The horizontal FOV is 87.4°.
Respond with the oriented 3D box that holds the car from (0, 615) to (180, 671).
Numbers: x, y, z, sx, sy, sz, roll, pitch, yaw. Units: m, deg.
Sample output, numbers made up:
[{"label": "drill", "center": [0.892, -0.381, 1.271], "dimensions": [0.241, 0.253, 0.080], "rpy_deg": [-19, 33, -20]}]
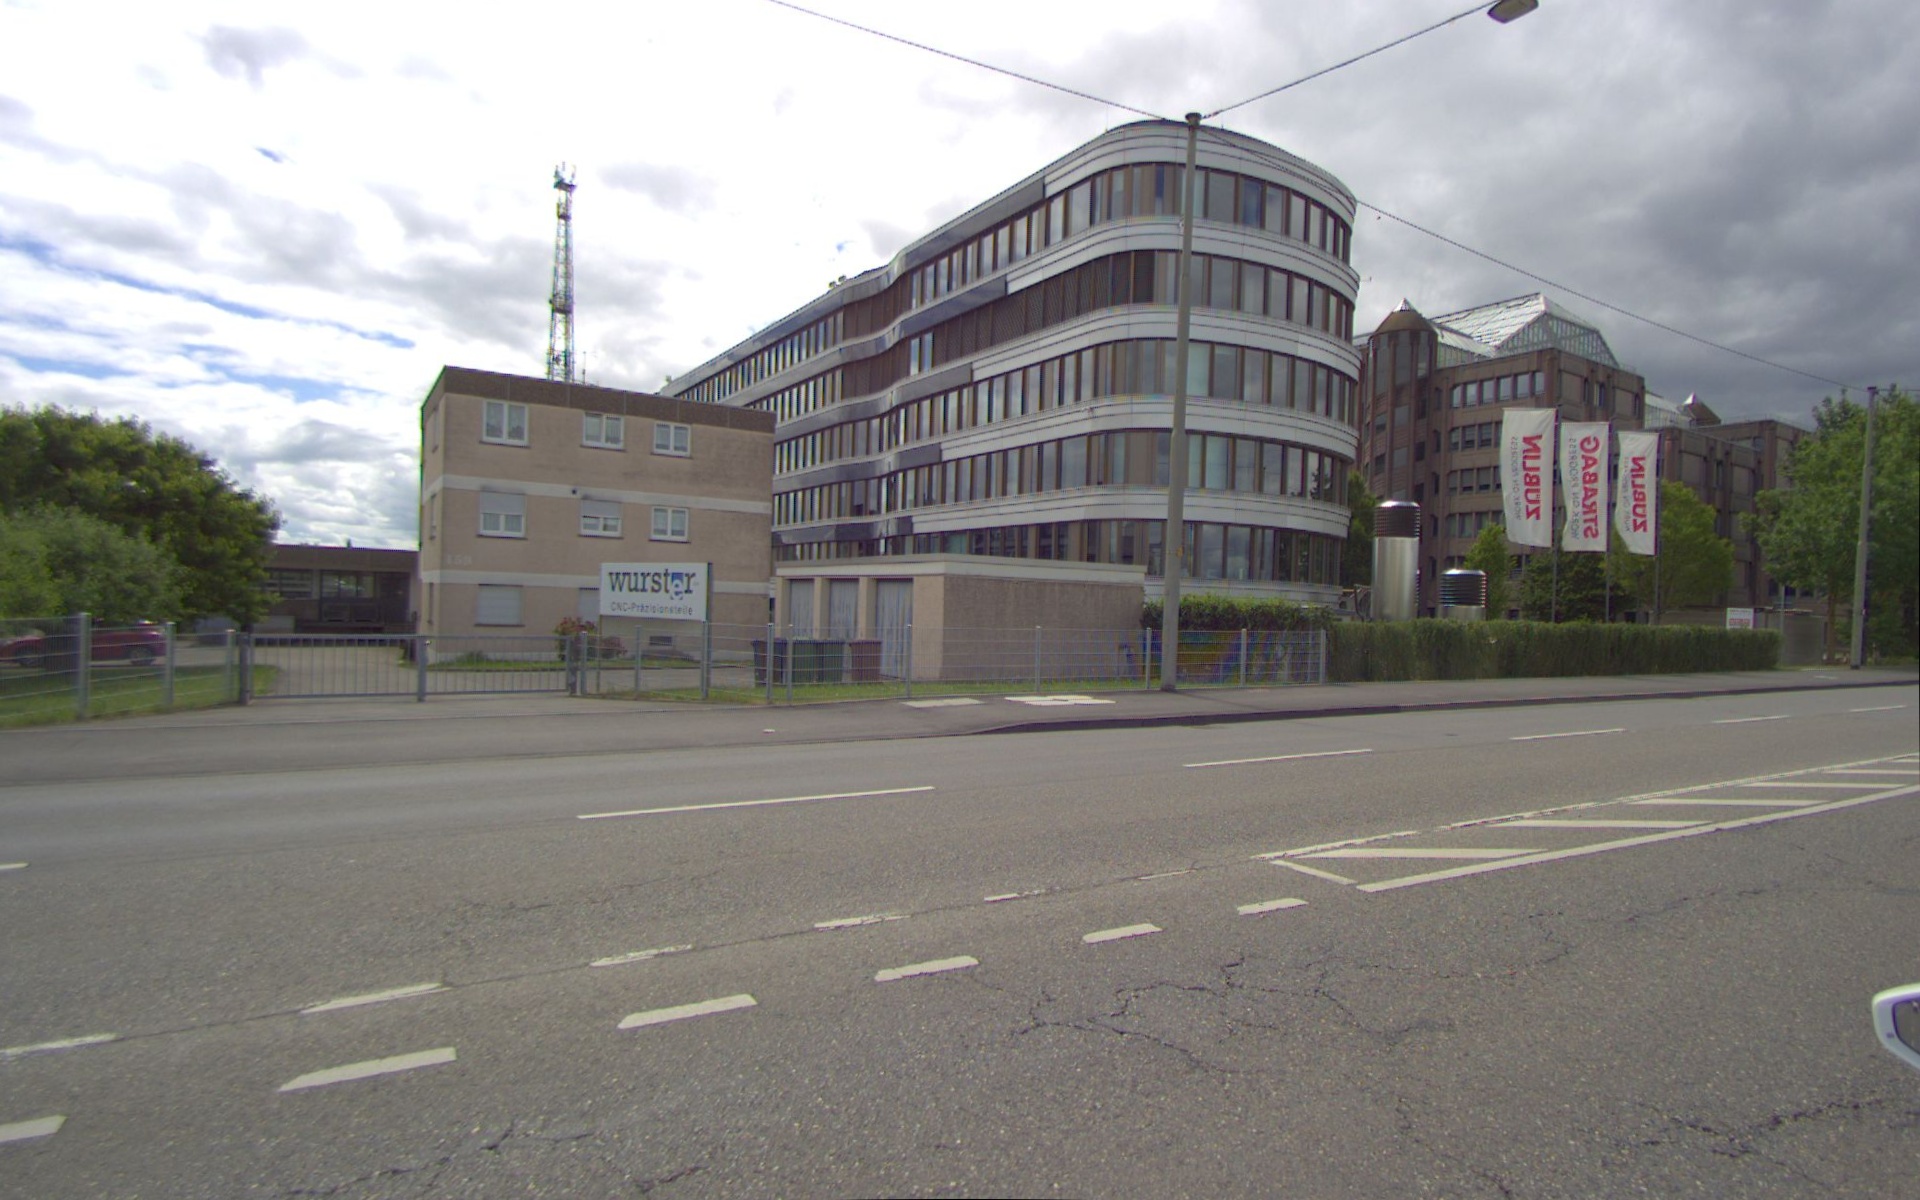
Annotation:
[{"label": "car", "center": [-27.492, 1.368, 31.950], "dimensions": [4.135, 1.564, 1.830], "rpy_deg": [2, 2, -36]}]
